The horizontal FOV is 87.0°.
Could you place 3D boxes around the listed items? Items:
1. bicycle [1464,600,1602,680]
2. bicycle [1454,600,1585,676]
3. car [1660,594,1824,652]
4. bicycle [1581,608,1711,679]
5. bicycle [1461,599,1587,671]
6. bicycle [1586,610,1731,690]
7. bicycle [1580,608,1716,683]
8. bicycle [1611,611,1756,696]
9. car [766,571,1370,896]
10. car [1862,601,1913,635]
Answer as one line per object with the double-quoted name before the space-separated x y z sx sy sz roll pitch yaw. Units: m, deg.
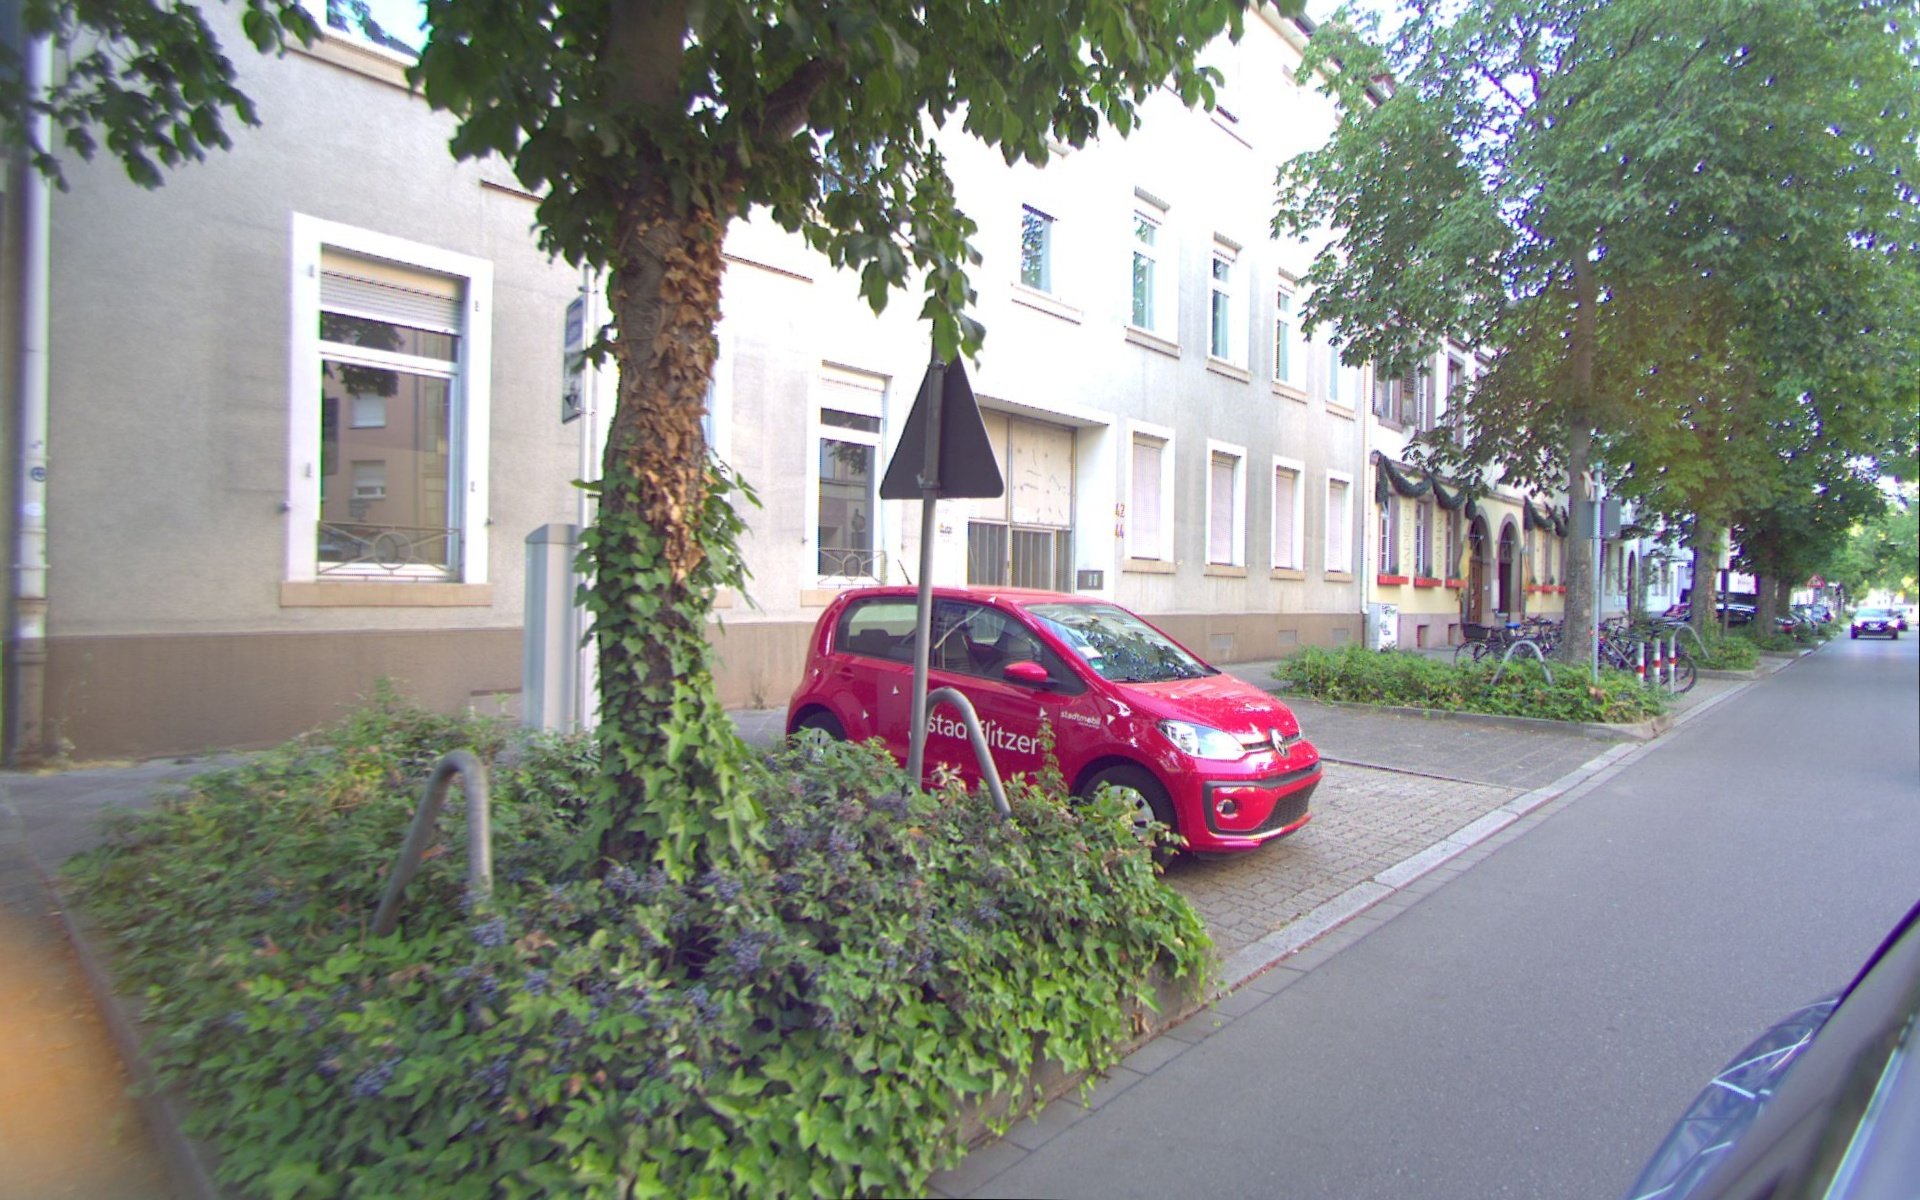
"bicycle" 9.803 0.656 17.345 2.014 1.242 0.529 2 1 33
"bicycle" 10.019 0.648 18.155 2.014 1.242 0.529 2 1 33
"car" 26.334 0.729 34.174 4.232 1.761 1.715 2 1 43
"bicycle" 13.190 0.805 19.489 2.019 1.242 0.528 2 1 39
"bicycle" 10.650 0.636 19.150 2.017 1.242 0.529 2 1 37
"bicycle" 12.074 0.828 17.542 2.019 1.242 0.528 2 1 39
"bicycle" 12.709 0.814 18.736 2.019 1.242 0.528 2 1 39
"bicycle" 11.571 0.826 16.256 1.835 1.242 0.529 2 1 33
"car" 0.517 0.584 6.528 3.608 1.495 1.639 2 1 42
"car" 46.157 0.858 50.399 1.801 1.571 3.939 1 1 42
